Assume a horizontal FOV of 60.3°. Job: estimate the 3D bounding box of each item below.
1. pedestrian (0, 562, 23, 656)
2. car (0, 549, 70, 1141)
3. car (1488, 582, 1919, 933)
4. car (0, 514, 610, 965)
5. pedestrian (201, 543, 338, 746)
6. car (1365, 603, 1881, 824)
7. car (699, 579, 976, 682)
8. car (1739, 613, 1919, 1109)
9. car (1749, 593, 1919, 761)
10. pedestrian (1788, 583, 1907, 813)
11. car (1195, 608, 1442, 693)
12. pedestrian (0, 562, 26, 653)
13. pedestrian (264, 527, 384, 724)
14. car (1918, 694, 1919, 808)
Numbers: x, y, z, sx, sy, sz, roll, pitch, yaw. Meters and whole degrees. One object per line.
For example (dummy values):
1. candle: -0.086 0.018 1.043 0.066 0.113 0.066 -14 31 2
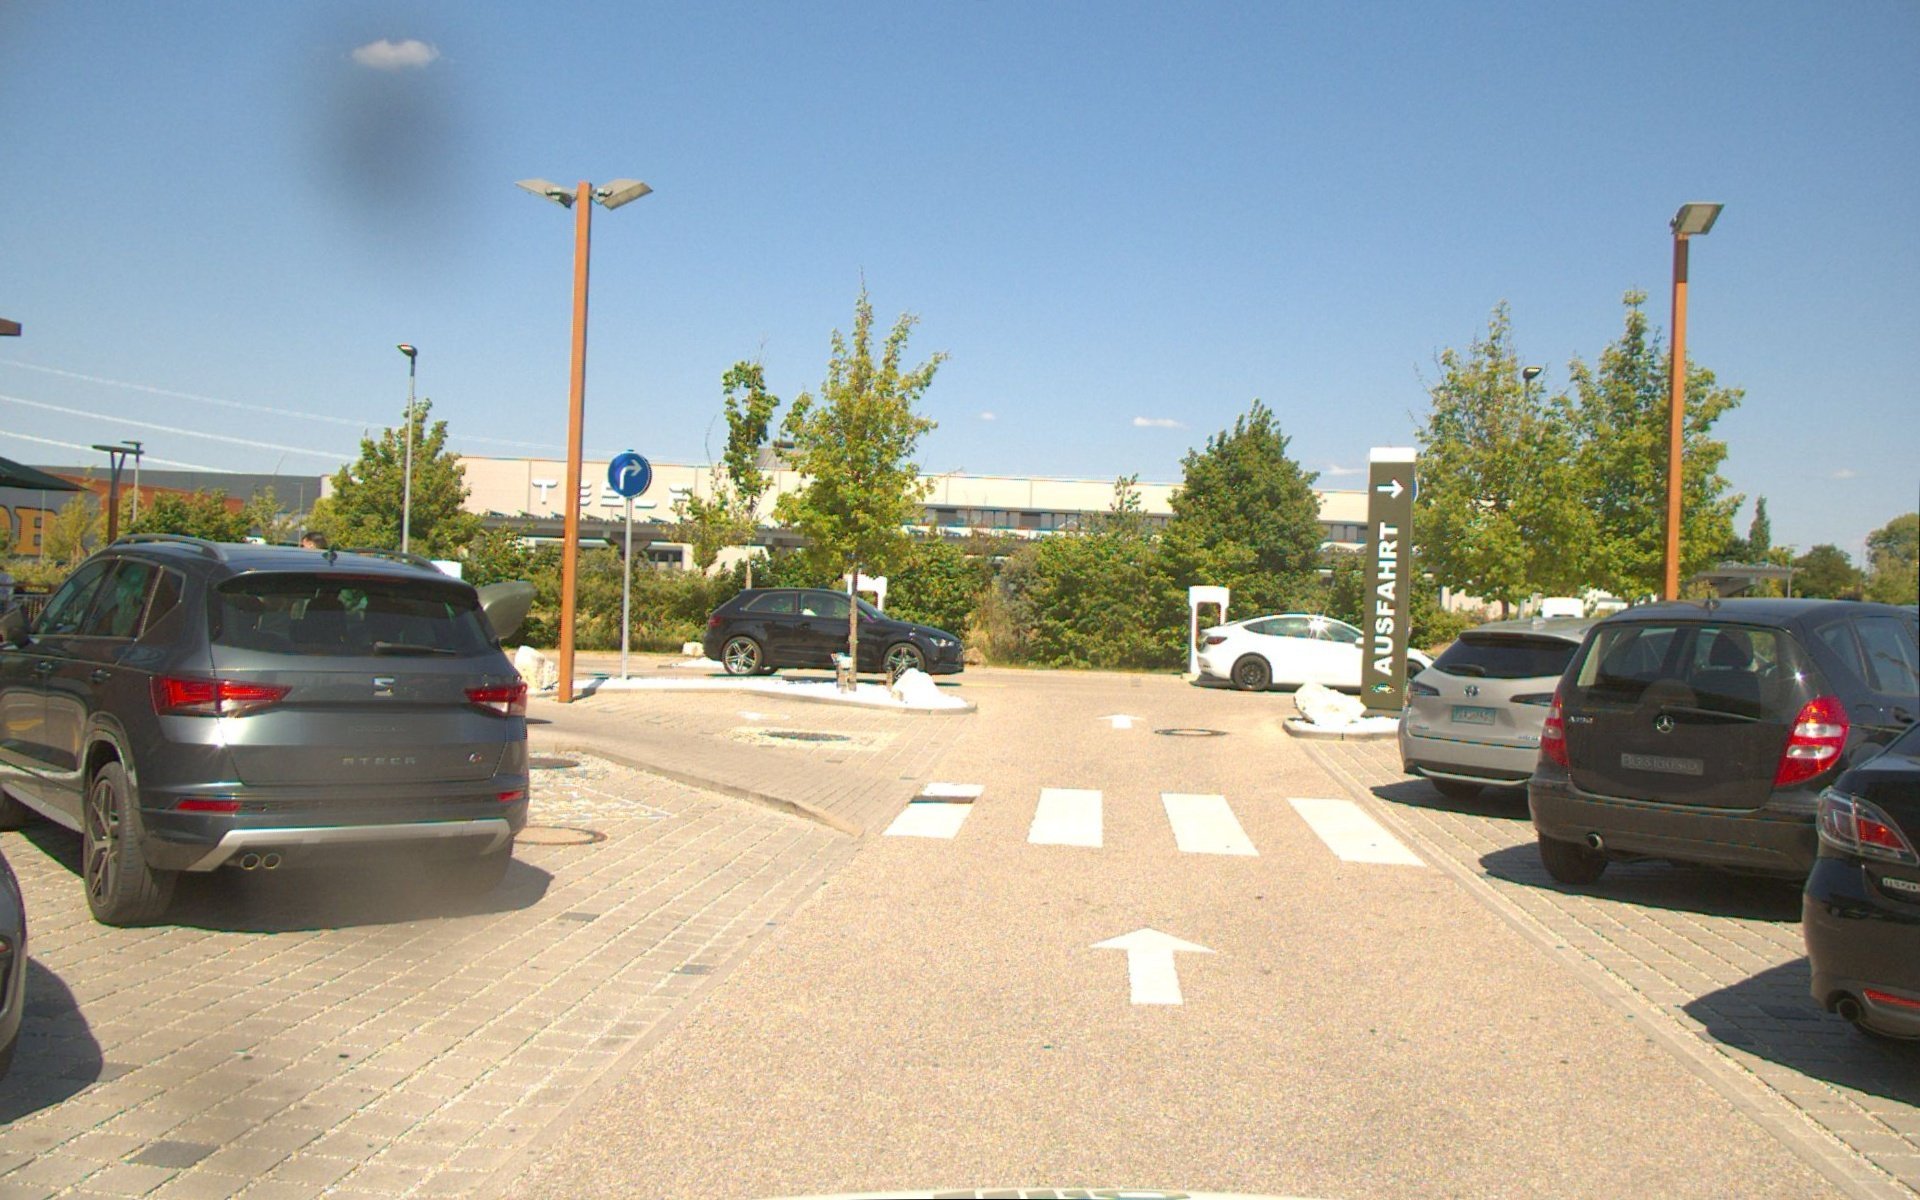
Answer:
1. pedestrian: -13.252 0.116 22.538 0.512 1.280 0.716 1 0 1
2. car: -4.083 0.565 4.870 3.356 1.508 1.558 2 0 43
3. car: 4.961 0.771 9.758 3.966 1.621 1.784 2 0 -42
4. car: -3.631 0.479 8.317 1.775 1.631 4.165 4 0 -41
5. pedestrian: -5.714 0.353 13.714 0.711 1.611 0.742 1 0 14
6. car: 5.480 0.792 13.406 4.614 1.472 1.811 1 0 -38
7. car: -1.890 0.506 26.308 4.112 1.466 1.699 1 -3 5
8. car: 4.681 0.841 5.961 4.035 1.474 1.804 2 0 -39
9. car: 10.093 0.741 17.529 1.864 1.563 4.161 1 1 45
10. pedestrian: 6.952 0.748 12.966 0.556 1.743 0.604 2 0 -32
11. car: 6.597 0.908 30.812 4.340 1.401 1.824 2 0 8
12. pedestrian: -13.795 0.096 23.536 0.560 1.280 0.730 1 0 0
13. pedestrian: -6.025 0.235 15.706 0.785 1.799 0.896 1 0 -4
14. car: 9.109 0.732 12.842 4.032 1.668 1.722 1 0 -42
